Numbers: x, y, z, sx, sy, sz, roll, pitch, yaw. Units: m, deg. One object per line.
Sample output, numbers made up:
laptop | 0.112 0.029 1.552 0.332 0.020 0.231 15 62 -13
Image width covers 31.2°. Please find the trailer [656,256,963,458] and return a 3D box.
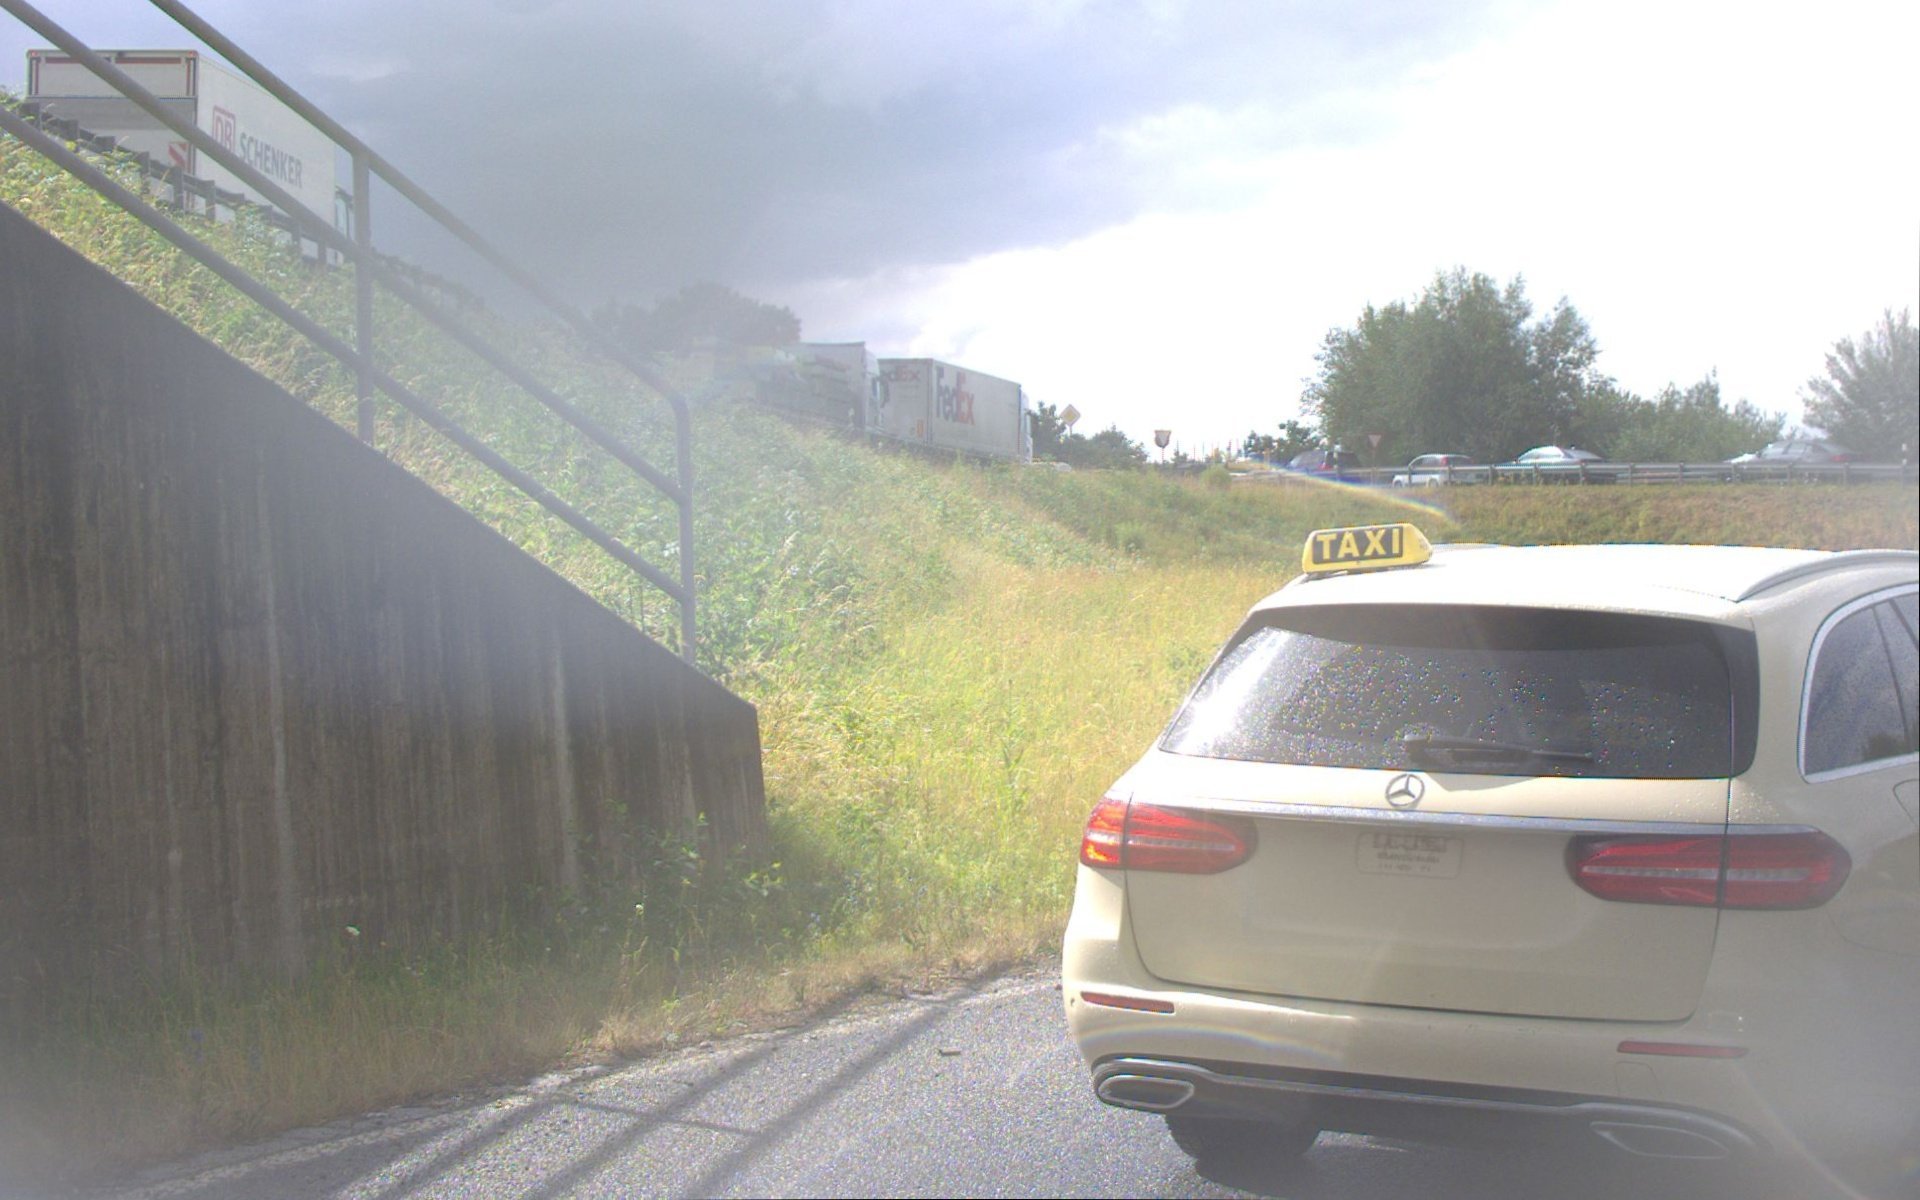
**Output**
trailer | -3.967 -6.784 100.258 4.415 3.942 20.207 0 -1 11

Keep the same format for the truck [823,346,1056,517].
truck | -0.389 -5.613 119.444 4.462 4.488 19.366 0 -1 11

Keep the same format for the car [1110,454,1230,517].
car | 7.121 -3.868 116.215 3.988 2.007 1.826 0 -1 6

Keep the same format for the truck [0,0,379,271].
truck | -11.739 -7.584 52.836 3.181 3.953 9.234 0 -1 6

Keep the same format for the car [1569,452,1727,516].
car | 22.048 -3.691 110.170 4.505 1.855 1.996 -2 0 37

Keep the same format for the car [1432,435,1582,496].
car | 18.685 -4.589 117.702 1.994 1.855 5.056 -1 0 -37

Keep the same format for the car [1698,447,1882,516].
car | 25.074 -3.558 103.981 5.053 1.855 1.995 -2 0 44

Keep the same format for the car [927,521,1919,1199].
car | 1.886 0.570 8.629 1.919 1.502 4.589 2 2 29
